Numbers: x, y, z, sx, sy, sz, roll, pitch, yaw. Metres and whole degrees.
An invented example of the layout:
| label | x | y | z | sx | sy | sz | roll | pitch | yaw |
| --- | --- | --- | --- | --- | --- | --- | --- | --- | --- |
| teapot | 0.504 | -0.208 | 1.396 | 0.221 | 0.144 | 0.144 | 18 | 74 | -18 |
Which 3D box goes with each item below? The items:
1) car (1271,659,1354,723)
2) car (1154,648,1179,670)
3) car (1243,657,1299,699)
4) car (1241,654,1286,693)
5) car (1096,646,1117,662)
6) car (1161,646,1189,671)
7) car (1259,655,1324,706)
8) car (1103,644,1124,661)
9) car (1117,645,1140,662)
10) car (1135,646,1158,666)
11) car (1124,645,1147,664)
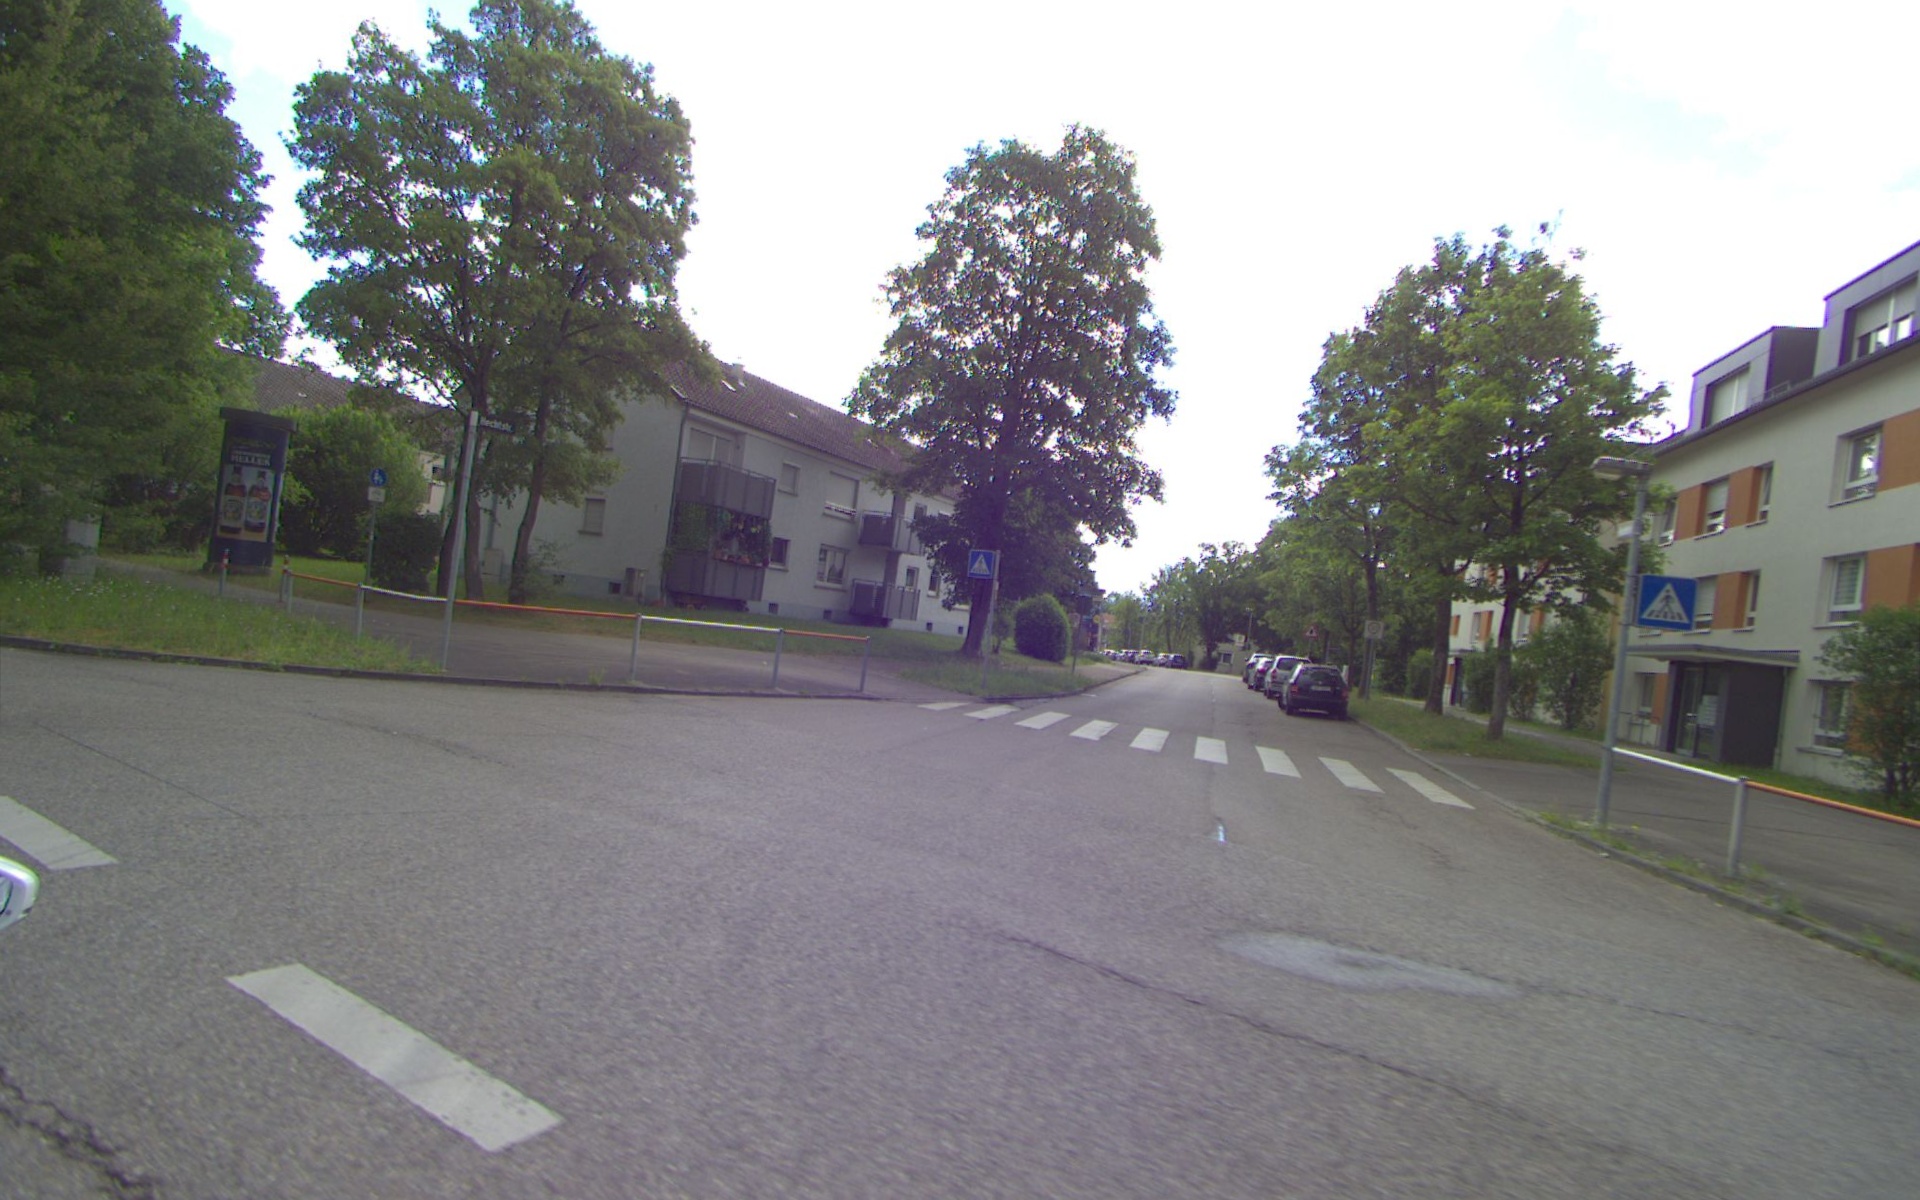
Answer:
| label | x | y | z | sx | sy | sz | roll | pitch | yaw |
| --- | --- | --- | --- | --- | --- | --- | --- | --- | --- |
| car | 9.955 | 2.515 | 28.613 | 1.606 | 1.482 | 3.777 | 7 | -1 | 12 |
| car | 21.431 | 6.085 | 104.640 | 1.962 | 1.907 | 4.003 | 7 | -1 | 6 |
| car | 13.619 | 3.378 | 44.241 | 1.757 | 1.531 | 3.962 | 7 | -1 | 11 |
| car | 16.710 | 4.031 | 55.560 | 1.989 | 1.808 | 4.328 | 7 | -1 | 15 |
| car | 21.216 | 7.759 | 145.449 | 1.965 | 1.907 | 3.998 | 7 | -1 | -5 |
| car | 21.135 | 5.758 | 99.034 | 1.962 | 2.145 | 4.003 | 7 | -1 | 6 |
| car | 12.459 | 2.985 | 38.040 | 1.757 | 1.592 | 4.004 | 7 | -1 | 12 |
| car | 21.458 | 7.327 | 140.768 | 1.964 | 1.907 | 3.998 | 7 | -1 | -4 |
| car | 21.535 | 6.839 | 128.789 | 1.963 | 1.907 | 4.001 | 7 | -1 | 0 |
| car | 21.435 | 6.446 | 115.950 | 1.962 | 1.907 | 4.002 | 7 | -1 | 5 |
| car | 21.407 | 6.643 | 122.594 | 1.963 | 1.907 | 4.001 | 7 | -1 | 1 |
